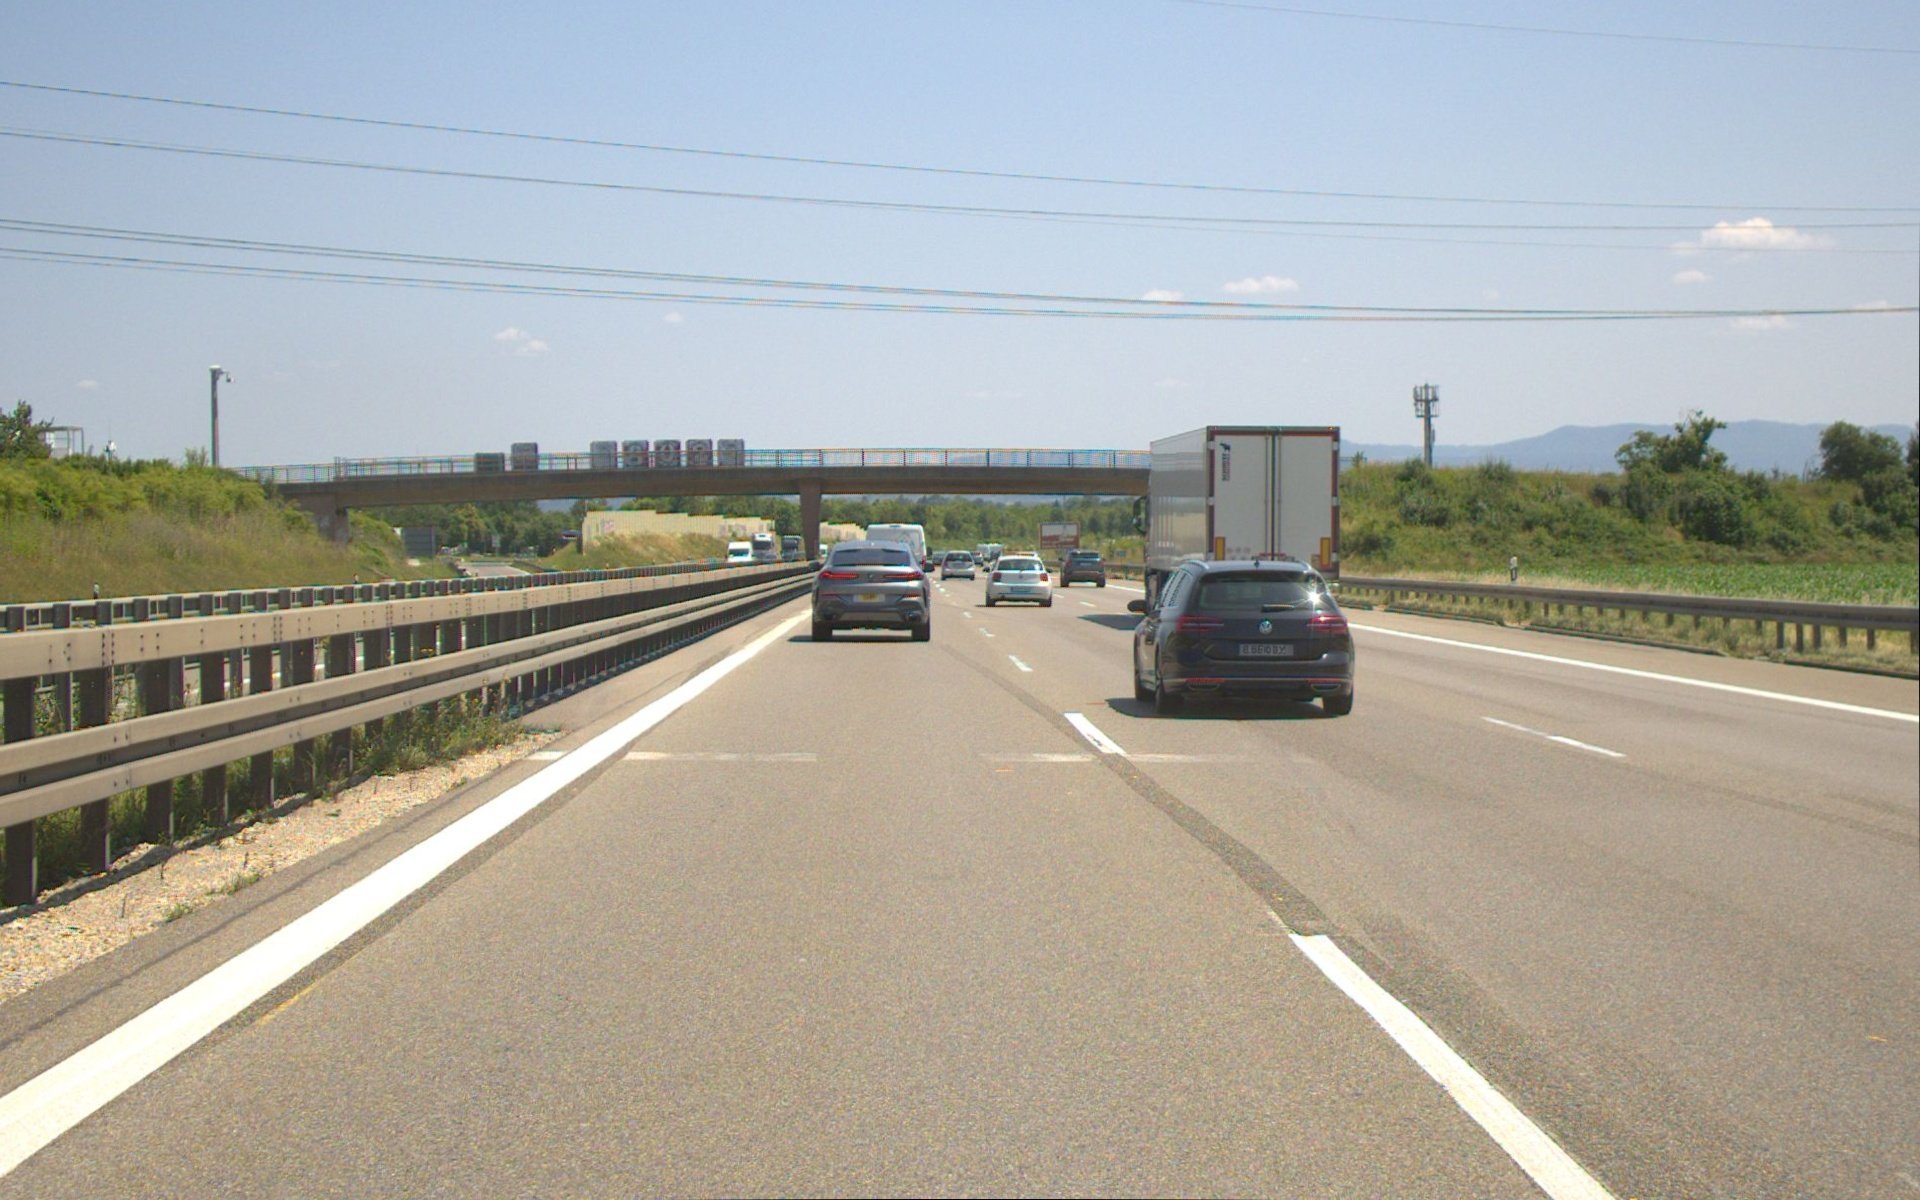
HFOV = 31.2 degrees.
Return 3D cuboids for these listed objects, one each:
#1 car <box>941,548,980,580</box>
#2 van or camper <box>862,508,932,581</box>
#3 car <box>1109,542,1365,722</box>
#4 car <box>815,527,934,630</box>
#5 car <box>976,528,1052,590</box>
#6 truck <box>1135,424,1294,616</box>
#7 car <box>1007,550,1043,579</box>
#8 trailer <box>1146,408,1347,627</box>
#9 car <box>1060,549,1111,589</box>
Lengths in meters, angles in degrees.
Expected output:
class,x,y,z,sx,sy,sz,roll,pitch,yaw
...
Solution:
class,x,y,z,sx,sy,sz,roll,pitch,yaw
car,0.013,-1.917,183.259,1.993,1.677,4.000,1,1,-1
van or camper,-1.945,-1.730,107.628,2.110,2.204,5.266,1,1,-1
car,2.568,0.250,33.025,1.933,1.569,4.935,1,1,-1
car,-1.478,-0.372,58.123,1.851,1.658,3.735,1,1,-4
car,1.488,-1.150,95.754,1.993,1.677,4.000,1,1,-1
truck,5.832,-1.814,79.956,2.979,4.213,7.688,1,1,-1
car,3.839,-2.102,202.850,1.993,1.677,4.000,1,1,-1
trailer,5.894,-1.687,73.145,2.943,4.184,13.597,1,1,-1
car,5.429,-1.347,148.853,1.993,1.677,4.000,1,1,-1
